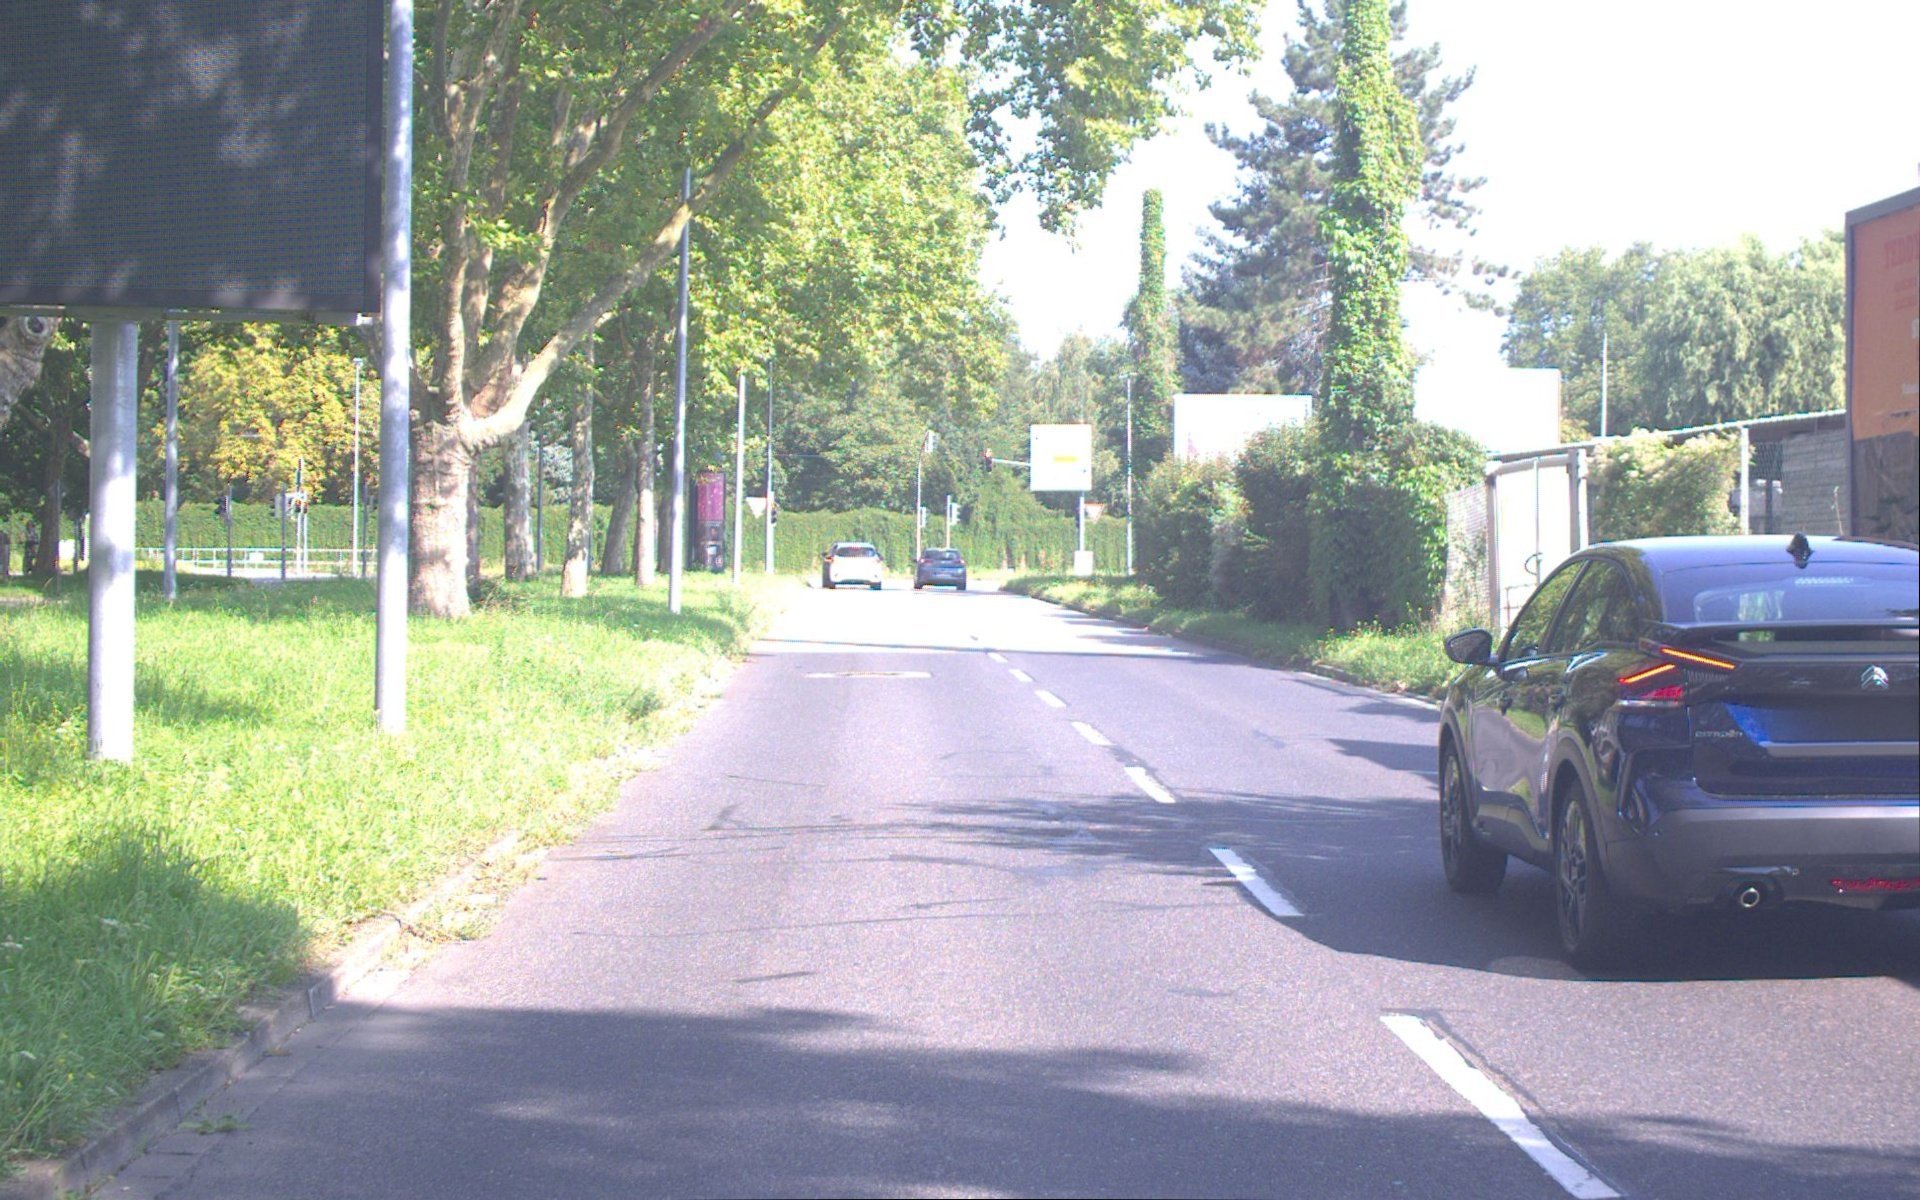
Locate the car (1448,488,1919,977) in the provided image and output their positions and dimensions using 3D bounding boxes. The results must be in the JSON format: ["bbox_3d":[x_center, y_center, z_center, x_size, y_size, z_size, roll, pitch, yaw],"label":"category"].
[{"bbox_3d":[2.940,0.412,13.263,1.645,1.583,4.254,0,0,2],"label":"car"}]

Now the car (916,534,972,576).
[{"bbox_3d":[-0.562,-1.562,120.476,1.797,1.396,4.000,1,1,-2],"label":"car"}]

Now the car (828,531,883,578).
[{"bbox_3d":[-3.377,-1.461,111.766,1.687,1.457,4.000,1,1,-1],"label":"car"}]
